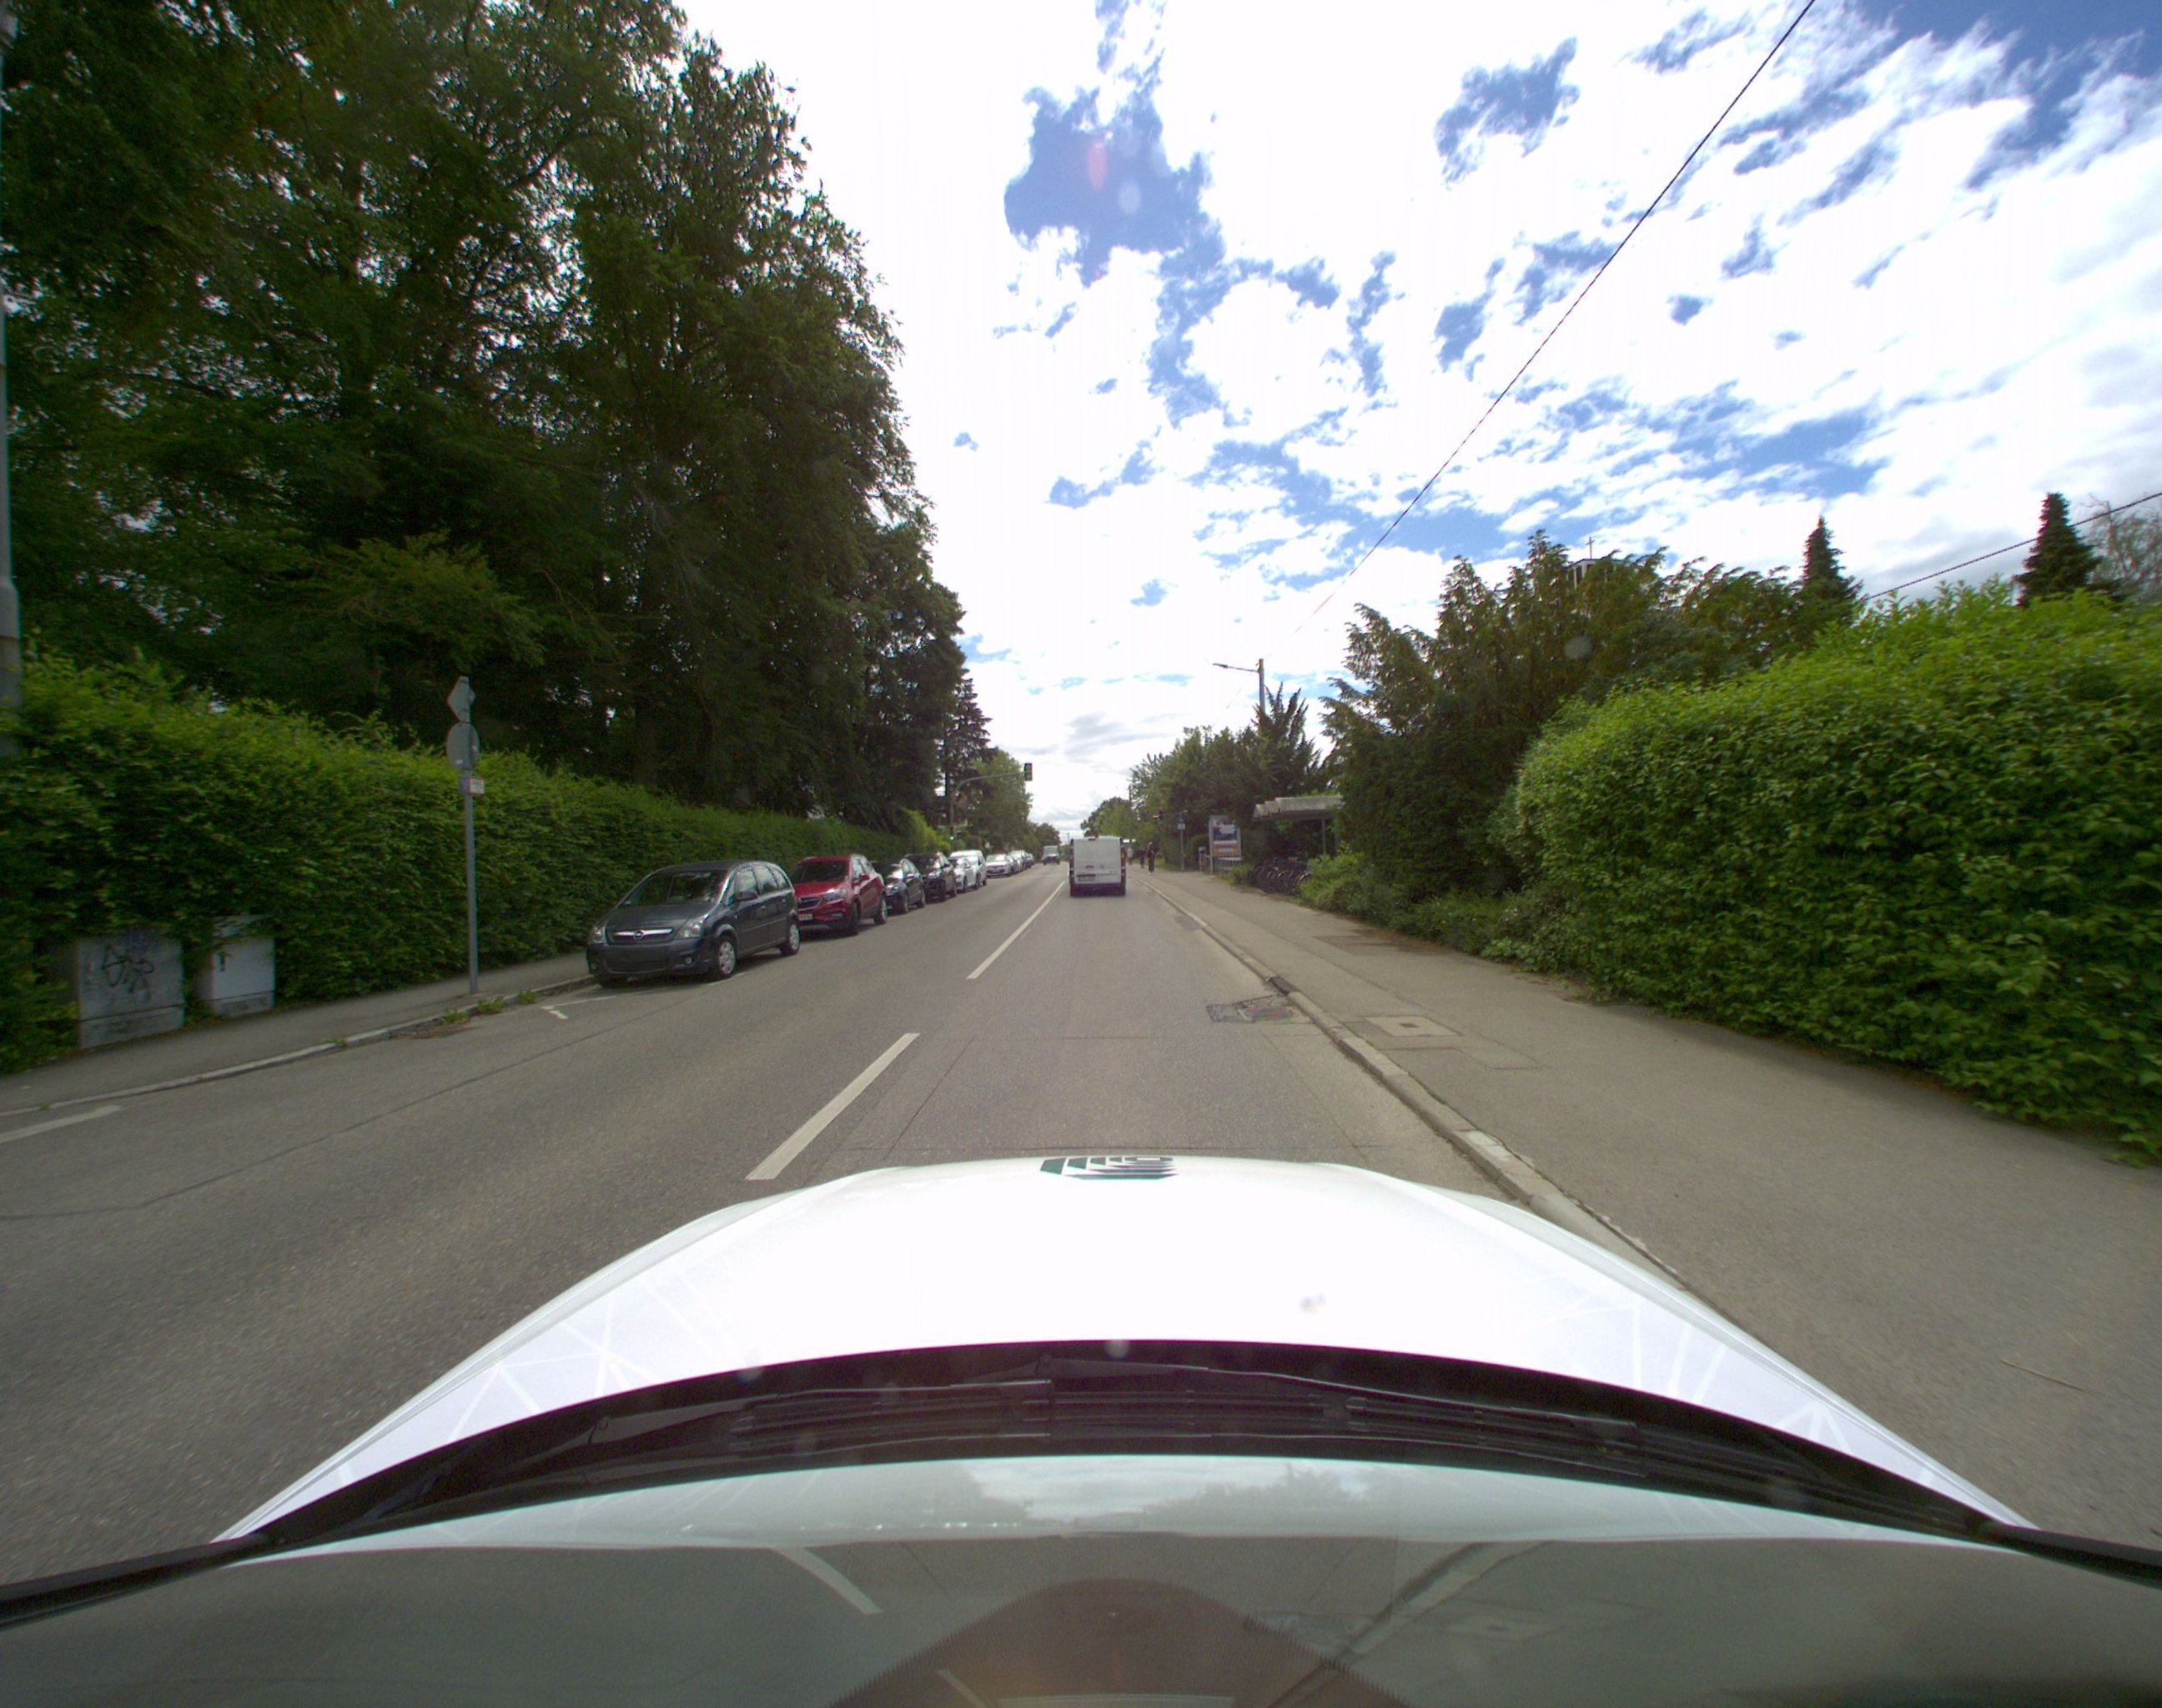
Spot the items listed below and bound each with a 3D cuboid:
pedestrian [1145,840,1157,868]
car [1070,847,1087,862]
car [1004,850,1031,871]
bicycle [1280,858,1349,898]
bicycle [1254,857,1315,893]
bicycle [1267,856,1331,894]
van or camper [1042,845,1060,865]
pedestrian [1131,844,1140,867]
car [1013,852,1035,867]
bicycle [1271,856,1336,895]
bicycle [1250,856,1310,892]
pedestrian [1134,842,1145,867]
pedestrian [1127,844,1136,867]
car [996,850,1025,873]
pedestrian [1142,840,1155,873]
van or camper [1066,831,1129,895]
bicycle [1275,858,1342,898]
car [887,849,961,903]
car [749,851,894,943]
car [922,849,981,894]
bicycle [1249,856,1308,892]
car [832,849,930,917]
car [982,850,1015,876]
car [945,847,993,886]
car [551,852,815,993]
[{"bbox_3d":[4.364,-0.019,50.757,0.671,1.696,0.523,-1,0,5],"label":"pedestrian"},{"bbox_3d":[-0.241,0.080,94.175,1.774,1.669,4.002,-1,0,2],"label":"car"},{"bbox_3d":[-5.300,0.511,68.733,1.774,1.669,4.002,-1,0,2],"label":"car"},{"bbox_3d":[6.236,0.636,21.816,1.693,1.030,0.491,-1,0,-1],"label":"bicycle"},{"bbox_3d":[6.040,0.614,24.203,1.693,1.030,0.491,-1,0,-1],"label":"bicycle"},{"bbox_3d":[6.292,0.610,23.511,1.693,1.030,0.491,-1,0,-1],"label":"bicycle"},{"bbox_3d":[-3.620,0.068,99.566,1.999,2.261,4.609,-3,0,-1],"label":"van or camper"},{"bbox_3d":[4.443,0.106,66.327,0.699,1.851,0.667,-1,0,4],"label":"pedestrian"},{"bbox_3d":[-5.850,0.542,84.046,1.774,1.424,4.002,-1,0,2],"label":"car"},{"bbox_3d":[6.259,0.606,22.948,1.693,1.030,0.491,-1,0,-1],"label":"bicycle"},{"bbox_3d":[6.030,0.613,24.719,1.693,1.030,0.491,-1,0,-1],"label":"bicycle"},{"bbox_3d":[4.391,0.049,60.902,0.649,1.806,0.564,-1,0,-11],"label":"pedestrian"},{"bbox_3d":[4.200,0.118,67.751,0.700,1.851,0.666,-1,0,1],"label":"pedestrian"},{"bbox_3d":[-5.445,0.532,63.196,1.774,1.669,4.002,-1,0,2],"label":"car"},{"bbox_3d":[3.787,0.130,45.602,0.676,1.840,0.647,-1,0,7],"label":"pedestrian"},{"bbox_3d":[0.601,0.289,28.244,1.986,2.013,4.447,-1,0,2],"label":"van or camper"},{"bbox_3d":[6.238,0.645,22.372,1.693,1.030,0.491,-1,0,-1],"label":"bicycle"},{"bbox_3d":[-5.346,0.705,28.184,1.756,1.656,3.814,-3,0,0],"label":"car"},{"bbox_3d":[-5.425,0.820,17.614,1.756,1.656,4.060,-3,0,0],"label":"car"},{"bbox_3d":[-5.309,0.664,33.790,1.756,1.656,3.814,-3,0,0],"label":"car"},{"bbox_3d":[6.116,0.616,25.269,1.693,1.030,0.491,-1,0,-1],"label":"bicycle"},{"bbox_3d":[-5.549,0.745,23.073,1.756,1.656,3.814,-3,0,0],"label":"car"},{"bbox_3d":[-5.464,0.575,54.331,1.756,1.557,3.814,-3,0,0],"label":"car"},{"bbox_3d":[-5.537,0.580,40.730,1.756,1.756,3.814,-3,0,0],"label":"car"},{"bbox_3d":[-5.547,0.830,12.050,1.756,1.625,4.185,-3,0,0],"label":"car"}]
